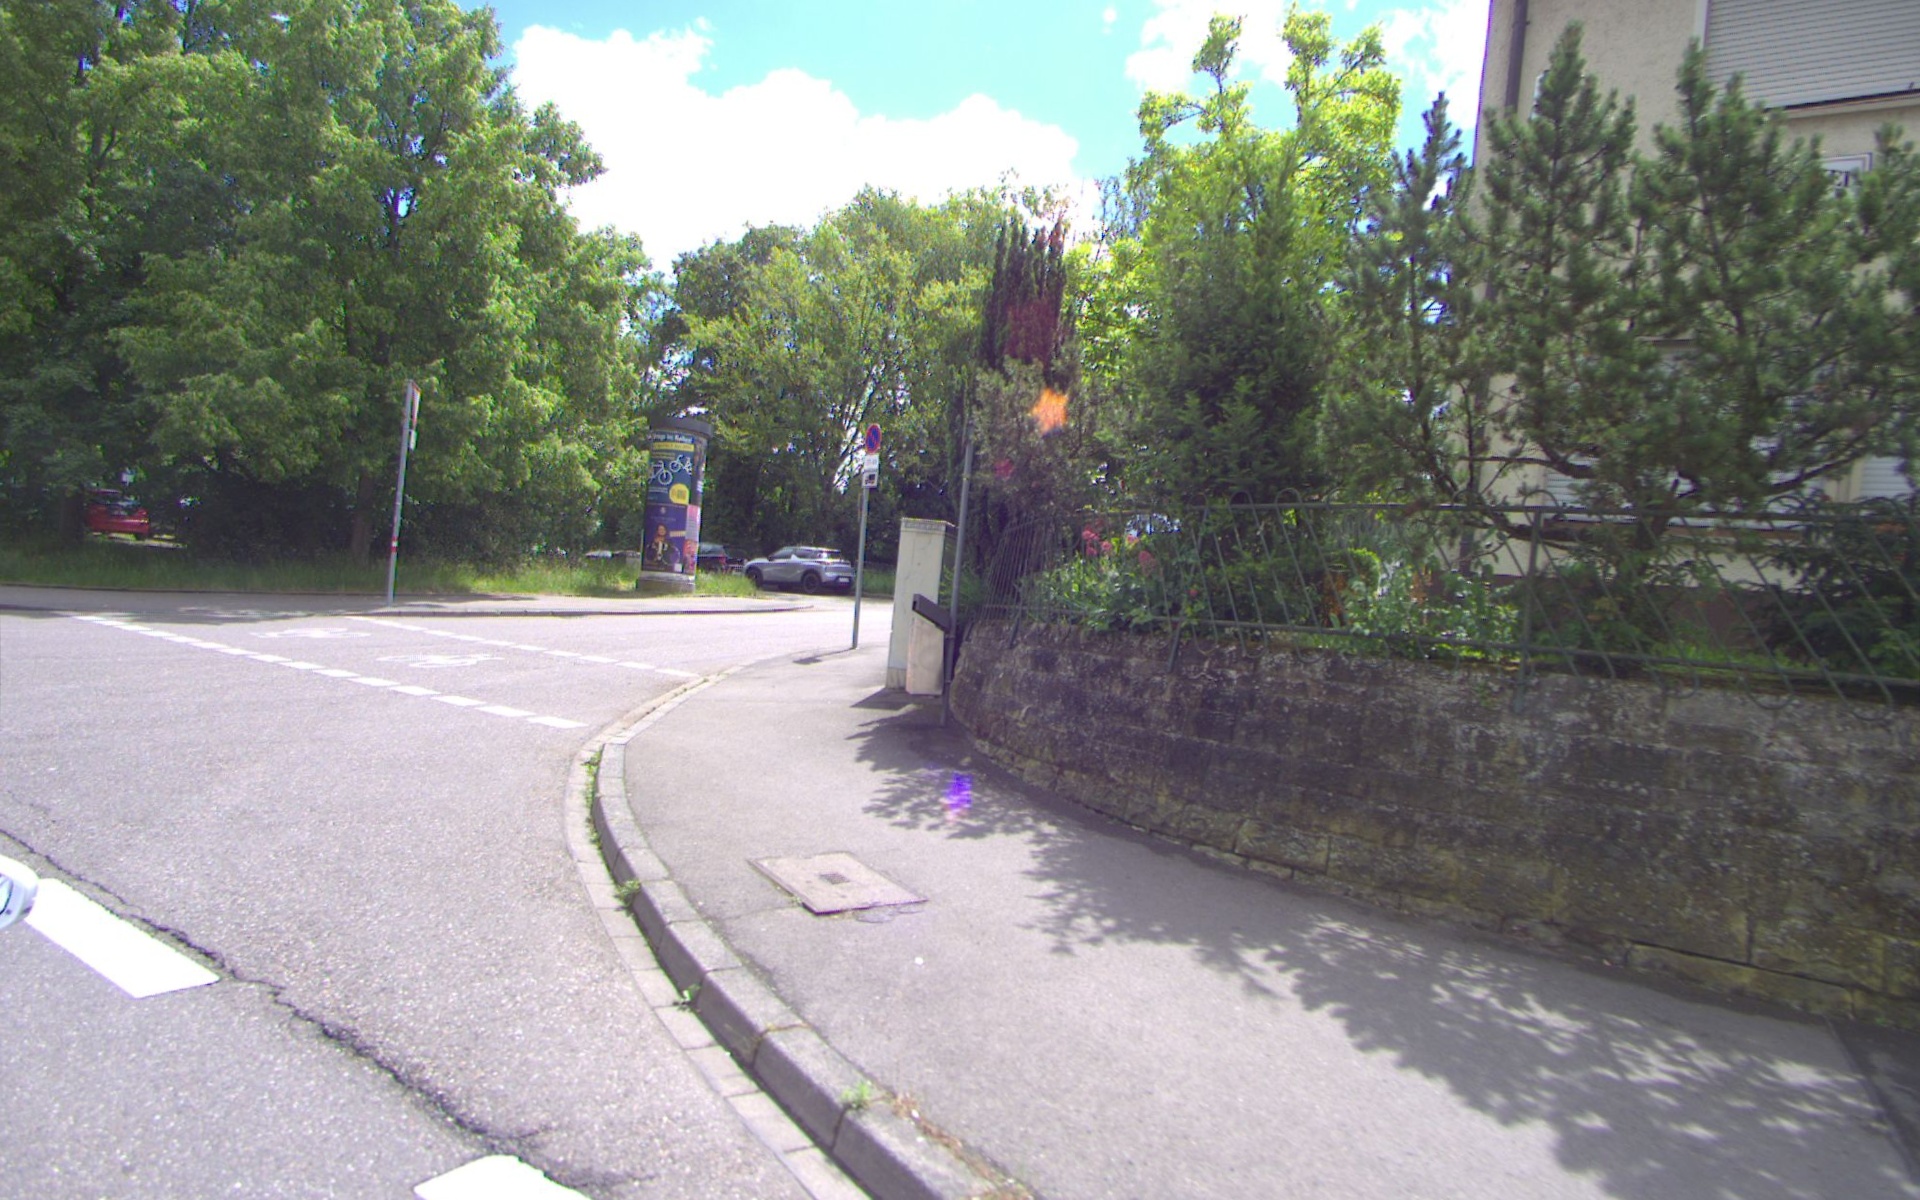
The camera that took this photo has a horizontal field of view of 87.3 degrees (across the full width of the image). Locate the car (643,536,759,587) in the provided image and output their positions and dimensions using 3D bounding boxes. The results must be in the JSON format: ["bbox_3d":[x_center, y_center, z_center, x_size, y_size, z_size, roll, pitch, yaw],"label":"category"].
[{"bbox_3d":[-9.236,-1.381,35.752,3.916,1.488,1.637,5,2,31],"label":"car"}]

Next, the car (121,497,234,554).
[{"bbox_3d":[-25.927,-2.473,33.320,3.602,1.603,1.753,5,1,31],"label":"car"}]

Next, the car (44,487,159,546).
[{"bbox_3d":[-26.715,-2.605,31.279,3.602,1.520,1.661,5,1,31],"label":"car"}]

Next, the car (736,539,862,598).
[{"bbox_3d":[-5.365,-1.048,33.409,3.916,1.606,1.637,5,2,31],"label":"car"}]
